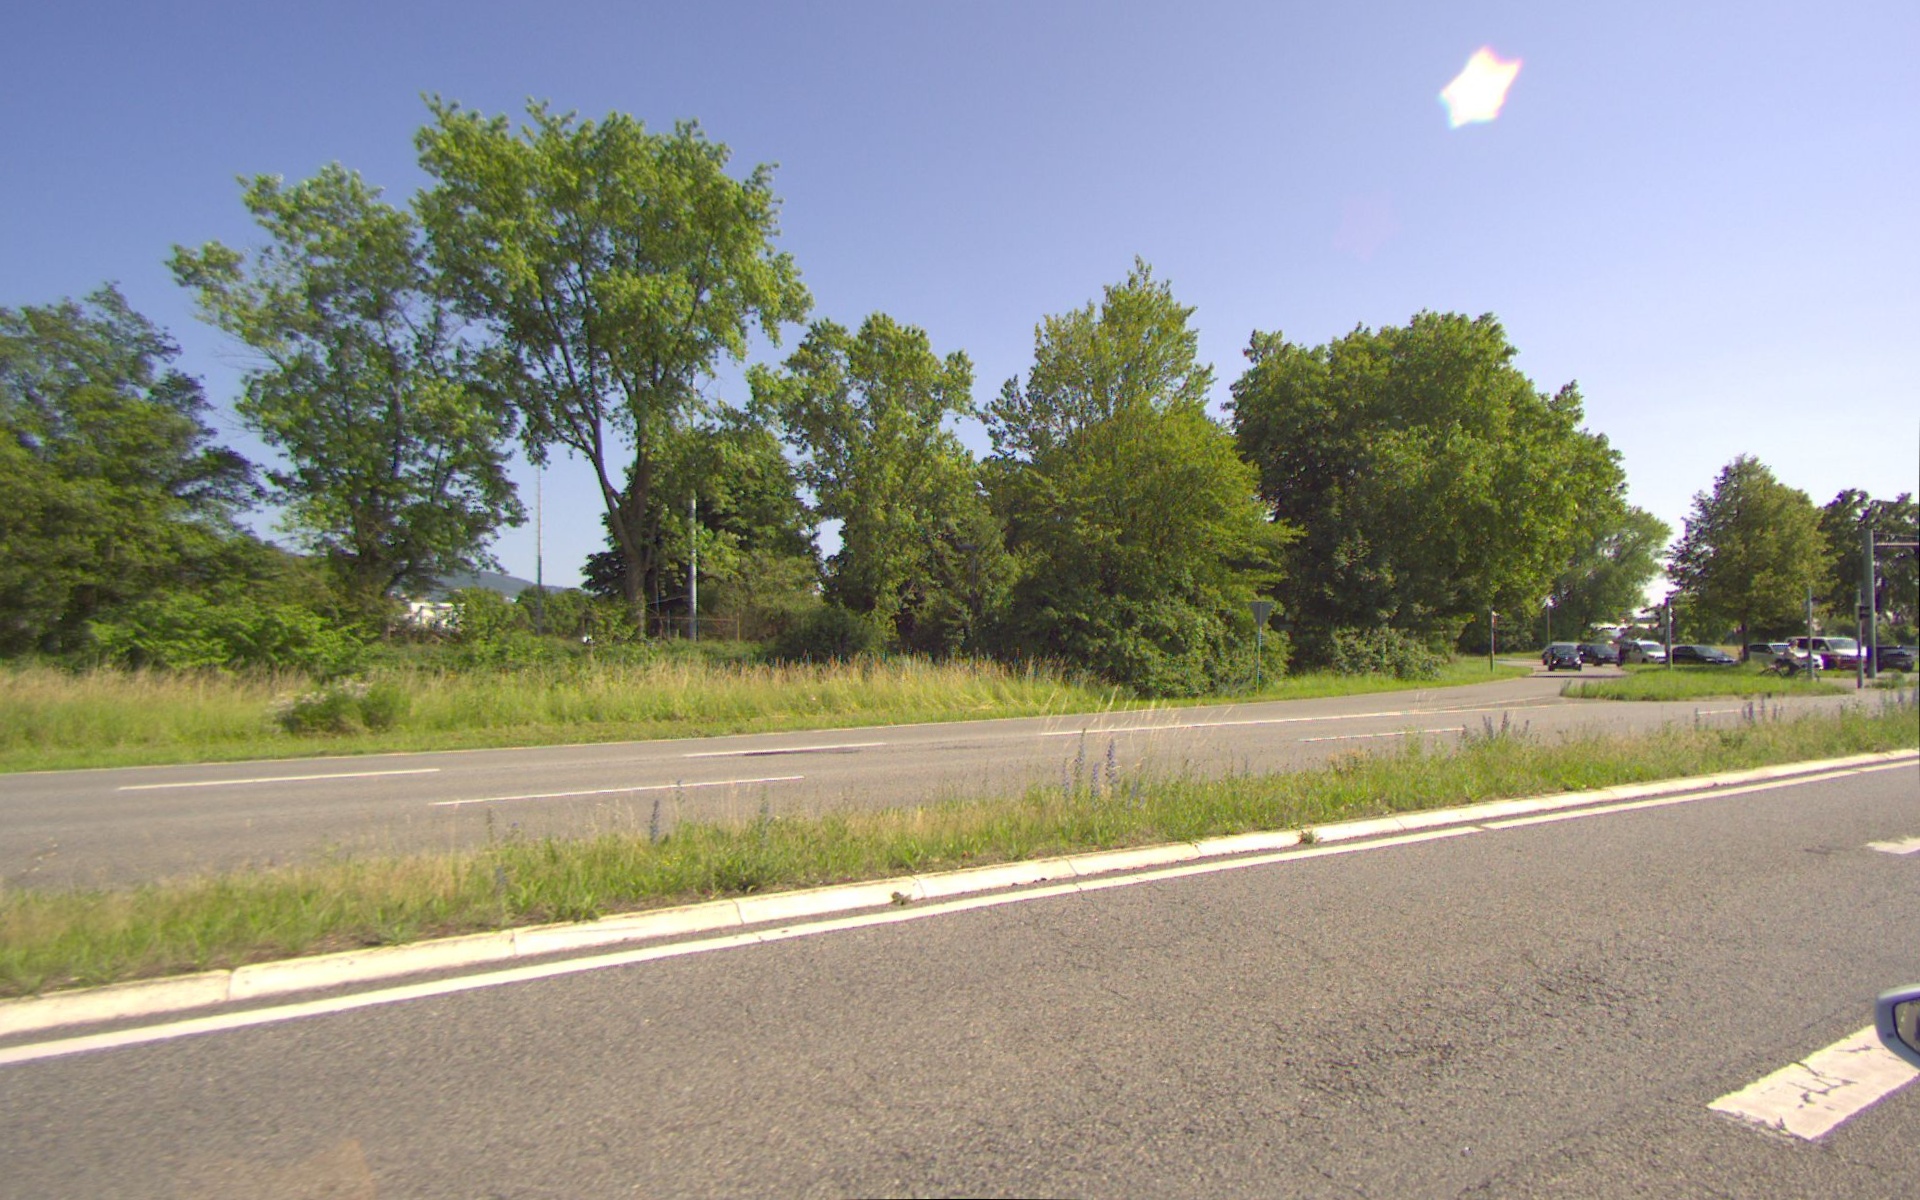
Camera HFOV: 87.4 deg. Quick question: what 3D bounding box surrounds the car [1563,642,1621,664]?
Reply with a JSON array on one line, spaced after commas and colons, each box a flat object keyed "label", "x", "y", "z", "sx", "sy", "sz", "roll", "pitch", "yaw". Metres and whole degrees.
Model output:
[{"label": "car", "x": 46.201, "y": 3.867, "z": 73.517, "sx": 1.881, "sy": 1.532, "sz": 4.129, "roll": 0, "pitch": -2, "yaw": 6}]

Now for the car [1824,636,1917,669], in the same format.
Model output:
[{"label": "car", "x": 51.324, "y": 2.921, "z": 56.729, "sx": 1.875, "sy": 1.671, "sz": 4.002, "roll": 1, "pitch": -1, "yaw": 5}]

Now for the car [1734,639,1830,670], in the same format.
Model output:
[{"label": "car", "x": 44.406, "y": 2.935, "z": 54.417, "sx": 1.964, "sy": 1.627, "sz": 4.271, "roll": 0, "pitch": -2, "yaw": 6}]

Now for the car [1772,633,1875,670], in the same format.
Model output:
[{"label": "car", "x": 47.745, "y": 2.844, "z": 55.683, "sx": 1.960, "sy": 1.975, "sz": 4.659, "roll": 0, "pitch": -2, "yaw": 5}]

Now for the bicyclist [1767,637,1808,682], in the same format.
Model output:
[{"label": "bicyclist", "x": 28.833, "y": 2.054, "z": 35.004, "sx": 0.737, "sy": 1.538, "sz": 0.844, "roll": 1, "pitch": -1, "yaw": -24}]

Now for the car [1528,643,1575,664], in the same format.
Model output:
[{"label": "car", "x": 46.734, "y": 4.220, "z": 79.480, "sx": 1.964, "sy": 1.627, "sz": 4.271, "roll": -1, "pitch": -3, "yaw": 12}]

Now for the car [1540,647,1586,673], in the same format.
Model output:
[{"label": "car", "x": 37.020, "y": 3.657, "z": 61.770, "sx": 1.963, "sy": 1.515, "sz": 4.281, "roll": -2, "pitch": -3, "yaw": 26}]

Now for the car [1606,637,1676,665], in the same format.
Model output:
[{"label": "car", "x": 45.602, "y": 3.397, "z": 67.375, "sx": 1.964, "sy": 1.824, "sz": 4.511, "roll": 0, "pitch": -2, "yaw": 6}]

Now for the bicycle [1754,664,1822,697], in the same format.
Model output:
[{"label": "bicycle", "x": 28.829, "y": 2.790, "z": 34.994, "sx": 0.737, "sy": 1.055, "sz": 1.671, "roll": 1, "pitch": -1, "yaw": -24}]

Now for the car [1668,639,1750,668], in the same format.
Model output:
[{"label": "car", "x": 44.988, "y": 3.200, "z": 60.449, "sx": 1.964, "sy": 1.627, "sz": 4.271, "roll": 0, "pitch": -2, "yaw": 6}]
